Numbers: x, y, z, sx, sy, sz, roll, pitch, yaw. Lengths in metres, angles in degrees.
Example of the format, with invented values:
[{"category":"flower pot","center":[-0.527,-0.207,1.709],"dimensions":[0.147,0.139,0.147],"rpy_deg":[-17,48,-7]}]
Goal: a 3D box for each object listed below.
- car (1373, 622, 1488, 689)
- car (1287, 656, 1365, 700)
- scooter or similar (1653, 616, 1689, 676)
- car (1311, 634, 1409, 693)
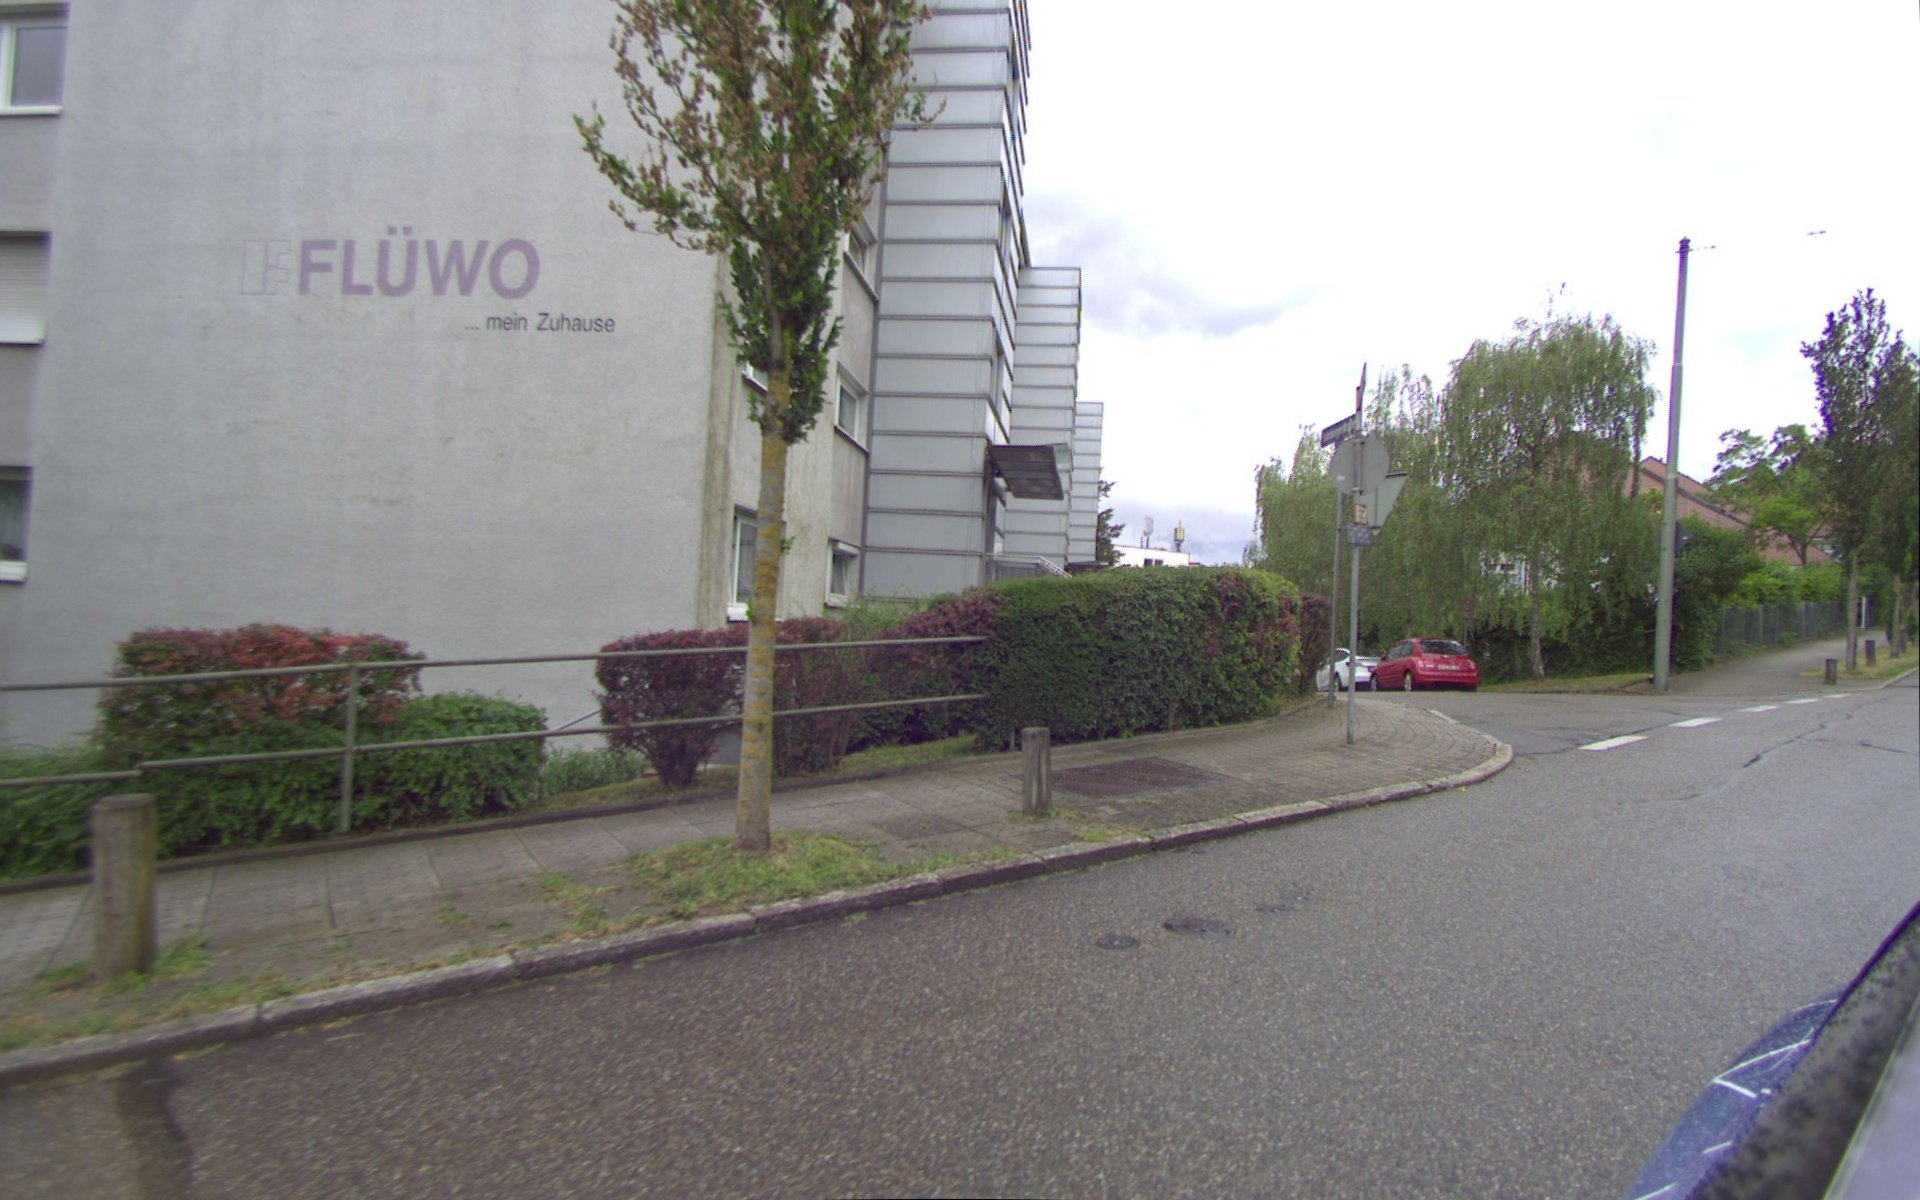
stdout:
[{"category":"car","center":[12.202,1.505,26.475],"dimensions":[1.616,1.543,3.560],"rpy_deg":[1,-6,6]},{"category":"car","center":[13.604,2.971,37.891],"dimensions":[1.697,1.441,4.290],"rpy_deg":[-1,-7,6]},{"category":"scooter or similar","center":[15.893,1.011,22.613],"dimensions":[1.246,1.270,0.343],"rpy_deg":[-2,-2,-43]},{"category":"car","center":[12.536,2.073,31.974],"dimensions":[1.697,1.563,4.361],"rpy_deg":[-1,-7,6]}]
